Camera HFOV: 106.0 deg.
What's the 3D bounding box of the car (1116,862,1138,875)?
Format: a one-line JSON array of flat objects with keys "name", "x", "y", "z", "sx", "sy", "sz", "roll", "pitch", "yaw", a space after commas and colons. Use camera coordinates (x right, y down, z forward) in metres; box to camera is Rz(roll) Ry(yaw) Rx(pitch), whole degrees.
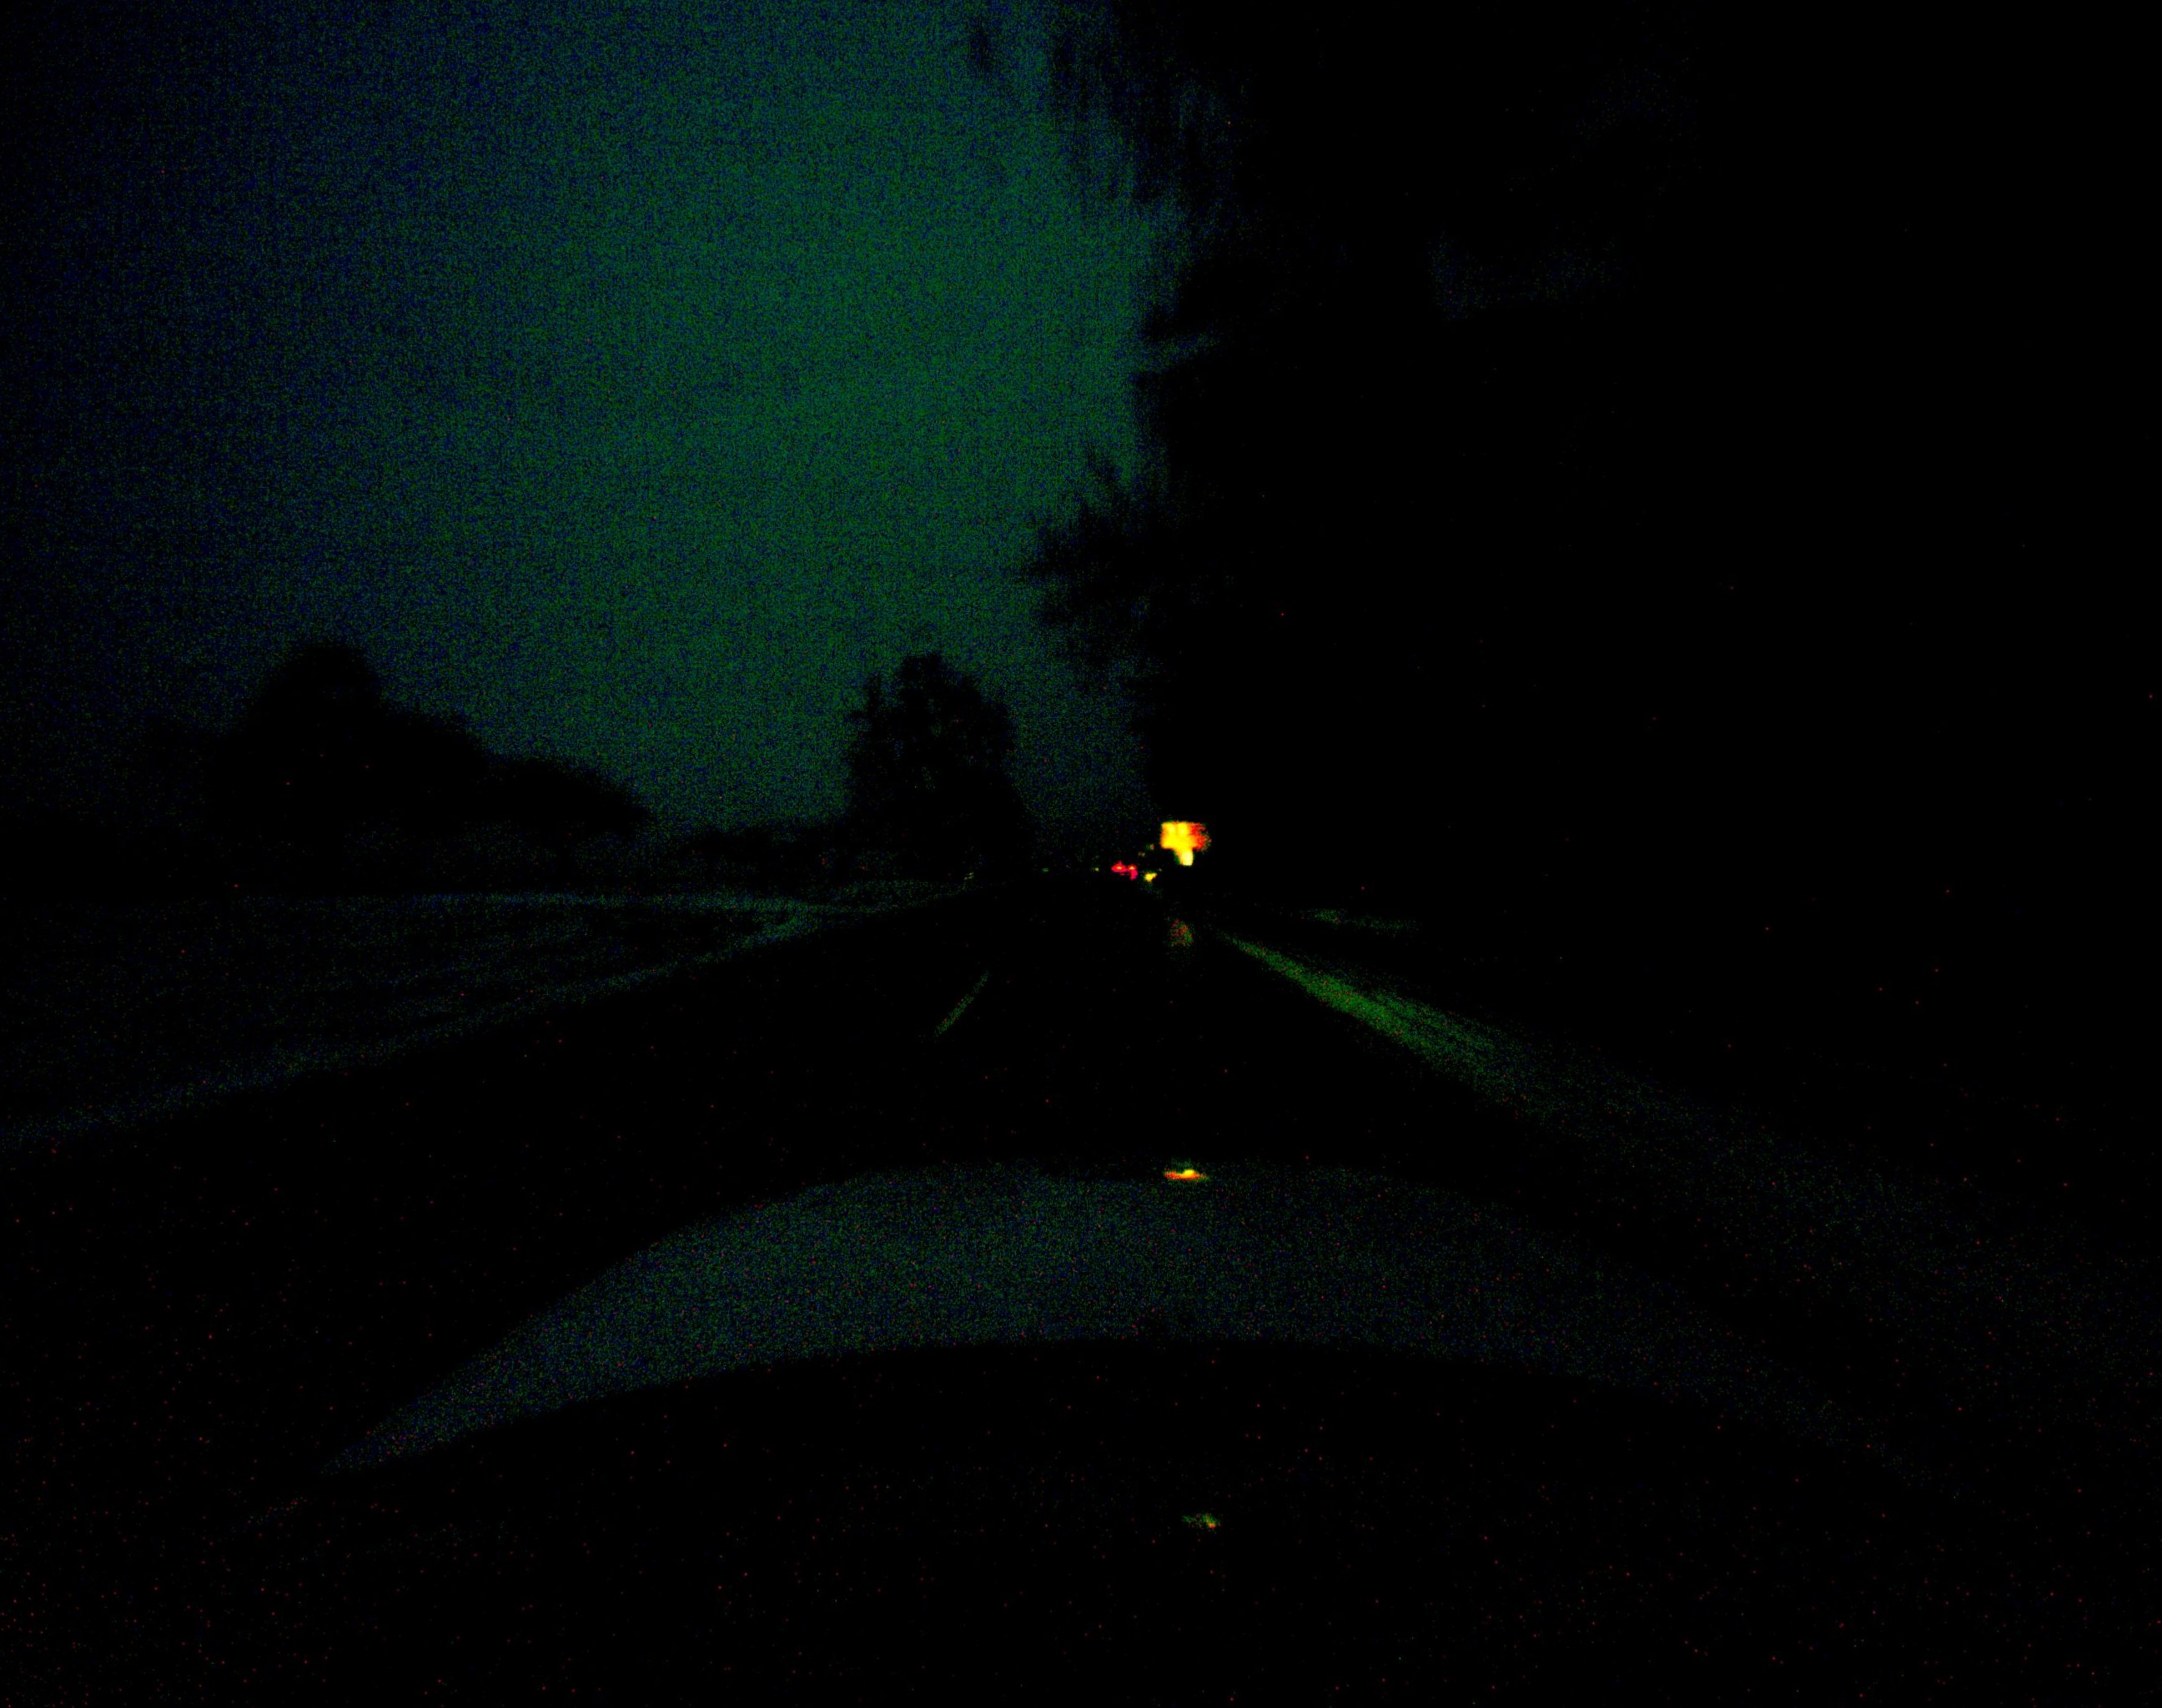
[{"name": "car", "x": 4.774, "y": 1.503, "z": 84.747, "sx": 1.911, "sy": 1.277, "sz": 4.009, "roll": -1, "pitch": 0, "yaw": 8}]
